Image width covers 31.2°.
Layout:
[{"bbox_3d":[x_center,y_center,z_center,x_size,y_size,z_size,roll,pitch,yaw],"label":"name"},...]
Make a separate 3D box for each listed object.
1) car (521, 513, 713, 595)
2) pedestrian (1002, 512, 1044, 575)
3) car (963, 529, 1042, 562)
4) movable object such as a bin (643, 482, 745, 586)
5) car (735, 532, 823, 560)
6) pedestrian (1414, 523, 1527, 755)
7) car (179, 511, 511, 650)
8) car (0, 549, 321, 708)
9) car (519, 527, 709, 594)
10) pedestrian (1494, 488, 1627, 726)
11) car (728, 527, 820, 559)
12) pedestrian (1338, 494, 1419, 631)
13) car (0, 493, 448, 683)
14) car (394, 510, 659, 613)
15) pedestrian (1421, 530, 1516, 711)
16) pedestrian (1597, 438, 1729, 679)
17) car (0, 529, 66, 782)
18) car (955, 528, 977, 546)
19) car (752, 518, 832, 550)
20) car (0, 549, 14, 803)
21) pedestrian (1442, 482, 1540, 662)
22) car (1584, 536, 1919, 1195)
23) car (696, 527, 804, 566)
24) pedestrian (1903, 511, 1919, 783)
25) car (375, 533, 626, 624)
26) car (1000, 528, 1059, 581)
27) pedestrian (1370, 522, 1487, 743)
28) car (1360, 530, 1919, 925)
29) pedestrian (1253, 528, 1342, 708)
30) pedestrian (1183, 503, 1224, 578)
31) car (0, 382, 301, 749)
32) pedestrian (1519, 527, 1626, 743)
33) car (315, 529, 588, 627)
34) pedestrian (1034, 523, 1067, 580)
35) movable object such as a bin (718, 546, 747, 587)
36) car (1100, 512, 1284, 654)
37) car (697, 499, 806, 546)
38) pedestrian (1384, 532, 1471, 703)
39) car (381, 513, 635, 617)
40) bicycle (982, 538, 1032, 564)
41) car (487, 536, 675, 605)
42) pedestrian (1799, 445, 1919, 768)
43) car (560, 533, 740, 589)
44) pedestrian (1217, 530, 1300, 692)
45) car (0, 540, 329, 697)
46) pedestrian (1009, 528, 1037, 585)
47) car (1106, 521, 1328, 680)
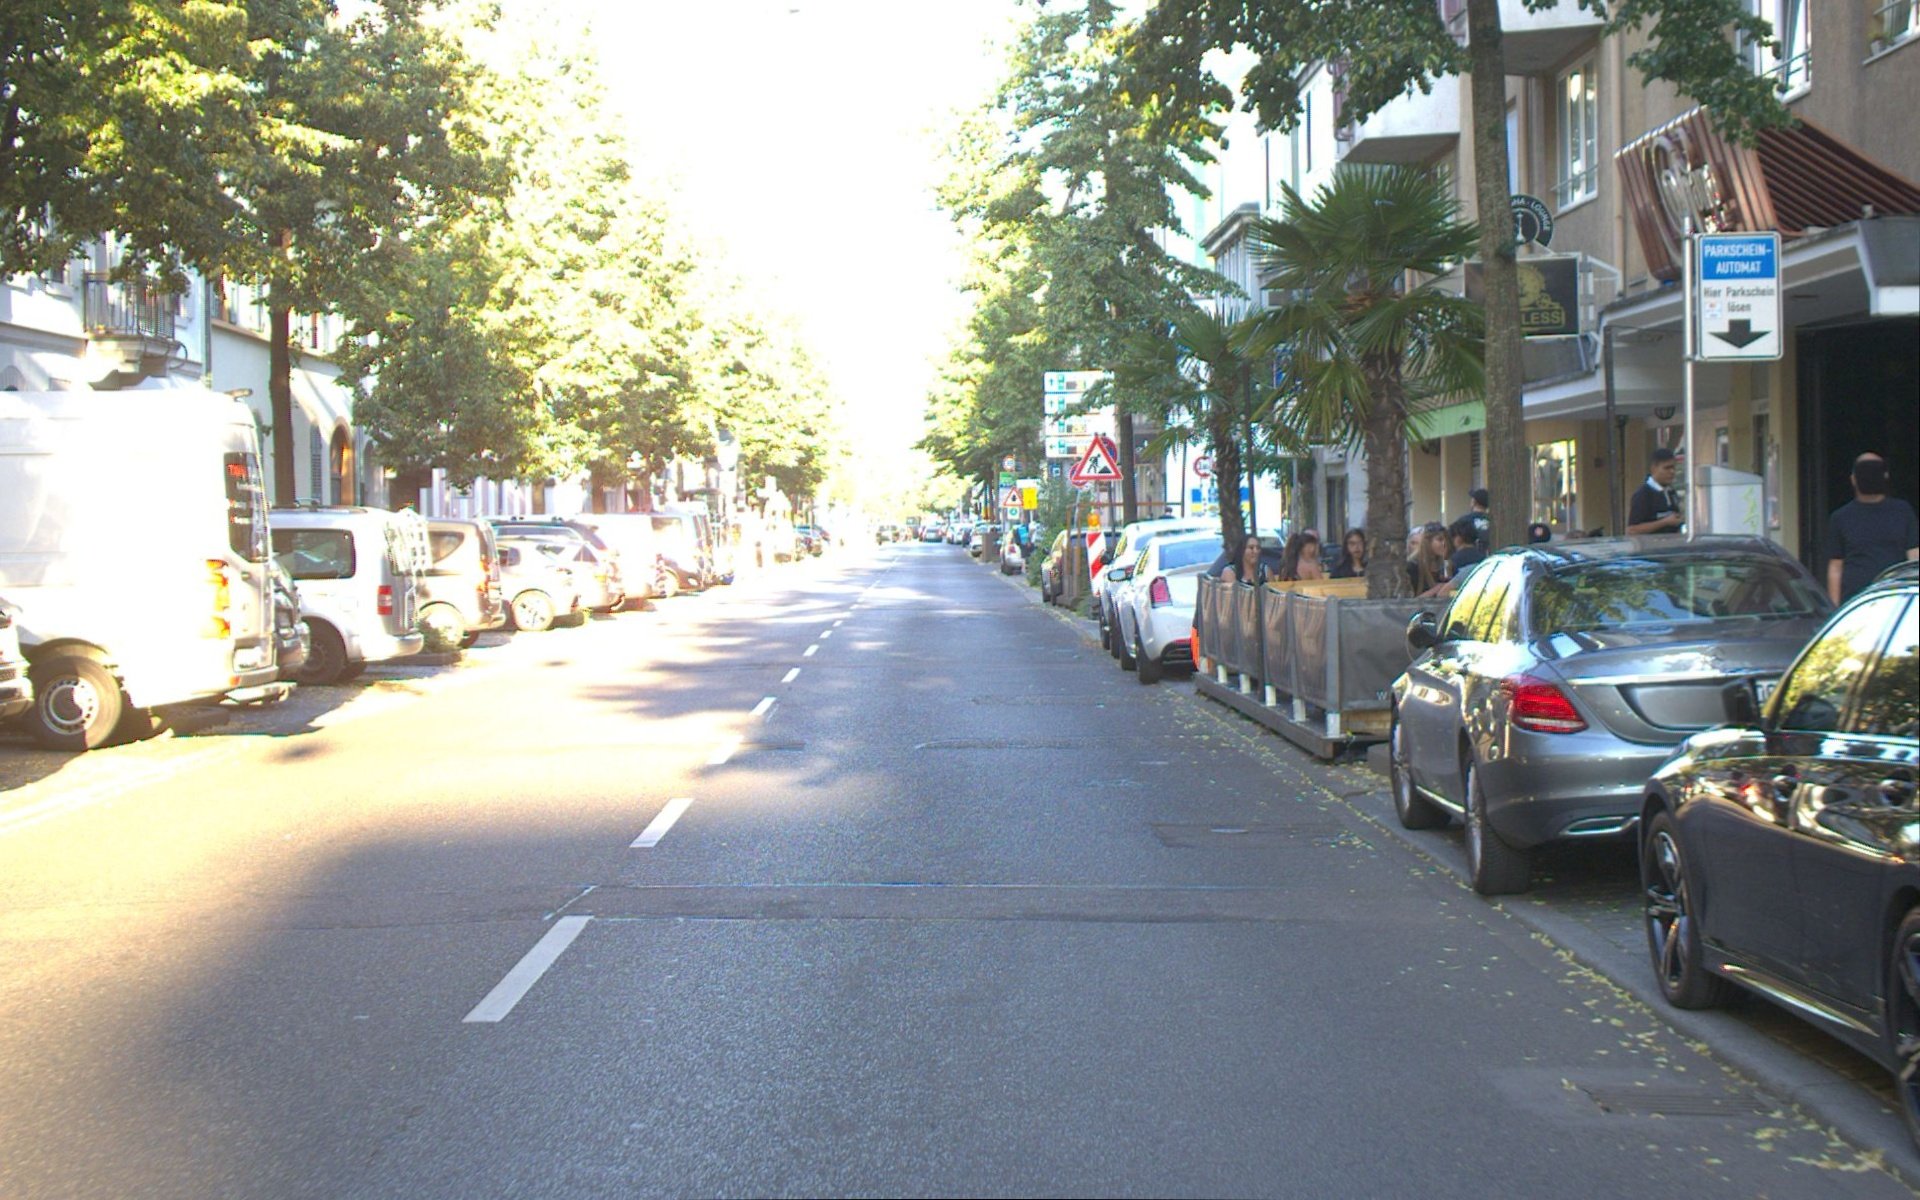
[{"bbox_3d":[-8.339,-1.140,83.921,4.483,1.969,2.068,0,1,0],"label":"car"},{"bbox_3d":[1.886,-1.683,102.984,1.013,1.819,0.780,-3,1,-10],"label":"pedestrian"},{"bbox_3d":[2.036,-2.635,165.369,1.674,1.583,3.814,1,1,42],"label":"car"},{"bbox_3d":[-7.744,-1.927,100.568,2.625,2.959,5.304,0,1,-1],"label":"movable object such as a bin"},{"bbox_3d":[-9.331,-2.782,177.647,4.442,1.444,1.919,0,1,0],"label":"car"},{"bbox_3d":[3.302,0.245,22.253,0.577,1.457,0.603,-3,1,0],"label":"pedestrian"},{"bbox_3d":[-8.298,-0.282,46.633,4.138,1.800,1.807,-1,1,1],"label":"car"},{"bbox_3d":[-7.922,0.246,31.112,3.986,1.399,1.750,0,0,-2],"label":"car"},{"bbox_3d":[-8.021,-0.917,79.814,4.325,1.496,1.842,0,1,-5],"label":"car"},{"bbox_3d":[4.153,0.038,23.821,0.708,1.593,0.795,-3,1,0],"label":"pedestrian"},{"bbox_3d":[-9.242,-2.817,171.122,4.442,1.562,1.919,0,1,0],"label":"car"},{"bbox_3d":[5.598,-0.506,46.042,0.855,1.788,0.997,-2,1,-4],"label":"pedestrian"},{"bbox_3d":[-7.835,-0.141,36.388,4.500,1.947,1.919,0,1,2],"label":"car"},{"bbox_3d":[-8.348,-0.759,66.470,4.870,1.901,1.974,-1,1,0],"label":"car"},{"bbox_3d":[3.987,0.151,26.978,0.577,1.380,0.718,-3,1,0],"label":"pedestrian"},{"bbox_3d":[5.627,-0.341,27.493,0.800,1.876,0.877,-1,3,26],"label":"pedestrian"},{"bbox_3d":[-8.174,0.319,22.301,4.213,1.594,1.975,1,1,1],"label":"car"},{"bbox_3d":[0.457,-4.494,244.883,1.513,1.271,3.304,0,1,1],"label":"car"},{"bbox_3d":[-9.515,-3.732,195.014,4.442,1.753,1.919,0,1,0],"label":"car"},{"bbox_3d":[-7.782,0.440,19.717,4.213,1.501,1.793,1,1,-1],"label":"car"},{"bbox_3d":[5.144,-0.275,33.339,0.788,1.698,0.700,-2,1,0],"label":"pedestrian"},{"bbox_3d":[3.048,0.577,9.256,1.774,1.465,4.418,-3,1,-1],"label":"car"},{"bbox_3d":[-9.130,-2.325,149.554,4.571,1.692,2.060,0,1,0],"label":"car"},{"bbox_3d":[5.532,0.249,18.628,0.624,1.483,0.640,-2,1,0],"label":"pedestrian"},{"bbox_3d":[-7.806,-0.375,58.679,4.037,1.478,1.963,-1,1,-1],"label":"car"},{"bbox_3d":[2.190,-1.466,108.948,1.687,1.569,4.013,-3,1,0],"label":"car"},{"bbox_3d":[3.246,0.214,23.861,0.631,1.480,0.795,-3,1,0],"label":"pedestrian"},{"bbox_3d":[3.005,0.449,15.871,1.774,1.435,5.000,-3,1,1],"label":"car"},{"bbox_3d":[2.659,0.134,27.106,0.577,1.380,0.603,-3,1,0],"label":"pedestrian"},{"bbox_3d":[6.199,-1.511,87.516,0.822,1.847,1.097,-3,1,-2],"label":"pedestrian"},{"bbox_3d":[-7.979,-0.295,25.758,5.658,2.612,2.171,1,1,0],"label":"car"},{"bbox_3d":[3.906,0.219,21.938,0.547,1.340,0.438,-3,1,0],"label":"pedestrian"},{"bbox_3d":[-7.905,-0.360,53.719,4.058,1.456,1.686,-1,1,-3],"label":"car"},{"bbox_3d":[2.777,-1.496,105.459,0.651,1.694,0.667,-4,1,-44],"label":"pedestrian"},{"bbox_3d":[-6.243,-0.933,94.424,0.690,1.101,0.883,-1,1,1],"label":"movable object such as a bin"},{"bbox_3d":[2.817,-0.249,42.627,1.879,1.568,4.692,-3,1,0],"label":"car"},{"bbox_3d":[-8.890,-3.311,146.896,4.571,1.955,1.991,0,1,-1],"label":"car"},{"bbox_3d":[3.870,0.136,28.473,0.577,1.380,0.603,-3,1,0],"label":"pedestrian"},{"bbox_3d":[-8.351,-0.664,63.783,4.428,1.863,1.894,-1,1,0],"label":"car"},{"bbox_3d":[1.920,-2.007,140.613,1.958,1.070,0.704,0,1,31],"label":"bicycle"},{"bbox_3d":[-8.437,-0.667,76.774,3.923,1.496,1.905,0,1,2],"label":"car"},{"bbox_3d":[4.868,0.024,18.247,0.624,1.671,0.640,-2,1,0],"label":"pedestrian"},{"bbox_3d":[-8.308,-1.049,92.395,4.594,1.465,1.892,0,1,3],"label":"car"},{"bbox_3d":[2.496,0.083,28.800,0.577,1.314,0.704,-3,1,0],"label":"pedestrian"},{"bbox_3d":[-8.021,0.166,33.859,3.368,1.462,1.713,1,1,-4],"label":"car"},{"bbox_3d":[1.938,-1.331,105.649,0.677,1.748,0.825,-1,1,-11],"label":"pedestrian"},{"bbox_3d":[2.656,-0.046,36.648,1.842,1.475,5.190,-3,1,-1],"label":"car"}]
